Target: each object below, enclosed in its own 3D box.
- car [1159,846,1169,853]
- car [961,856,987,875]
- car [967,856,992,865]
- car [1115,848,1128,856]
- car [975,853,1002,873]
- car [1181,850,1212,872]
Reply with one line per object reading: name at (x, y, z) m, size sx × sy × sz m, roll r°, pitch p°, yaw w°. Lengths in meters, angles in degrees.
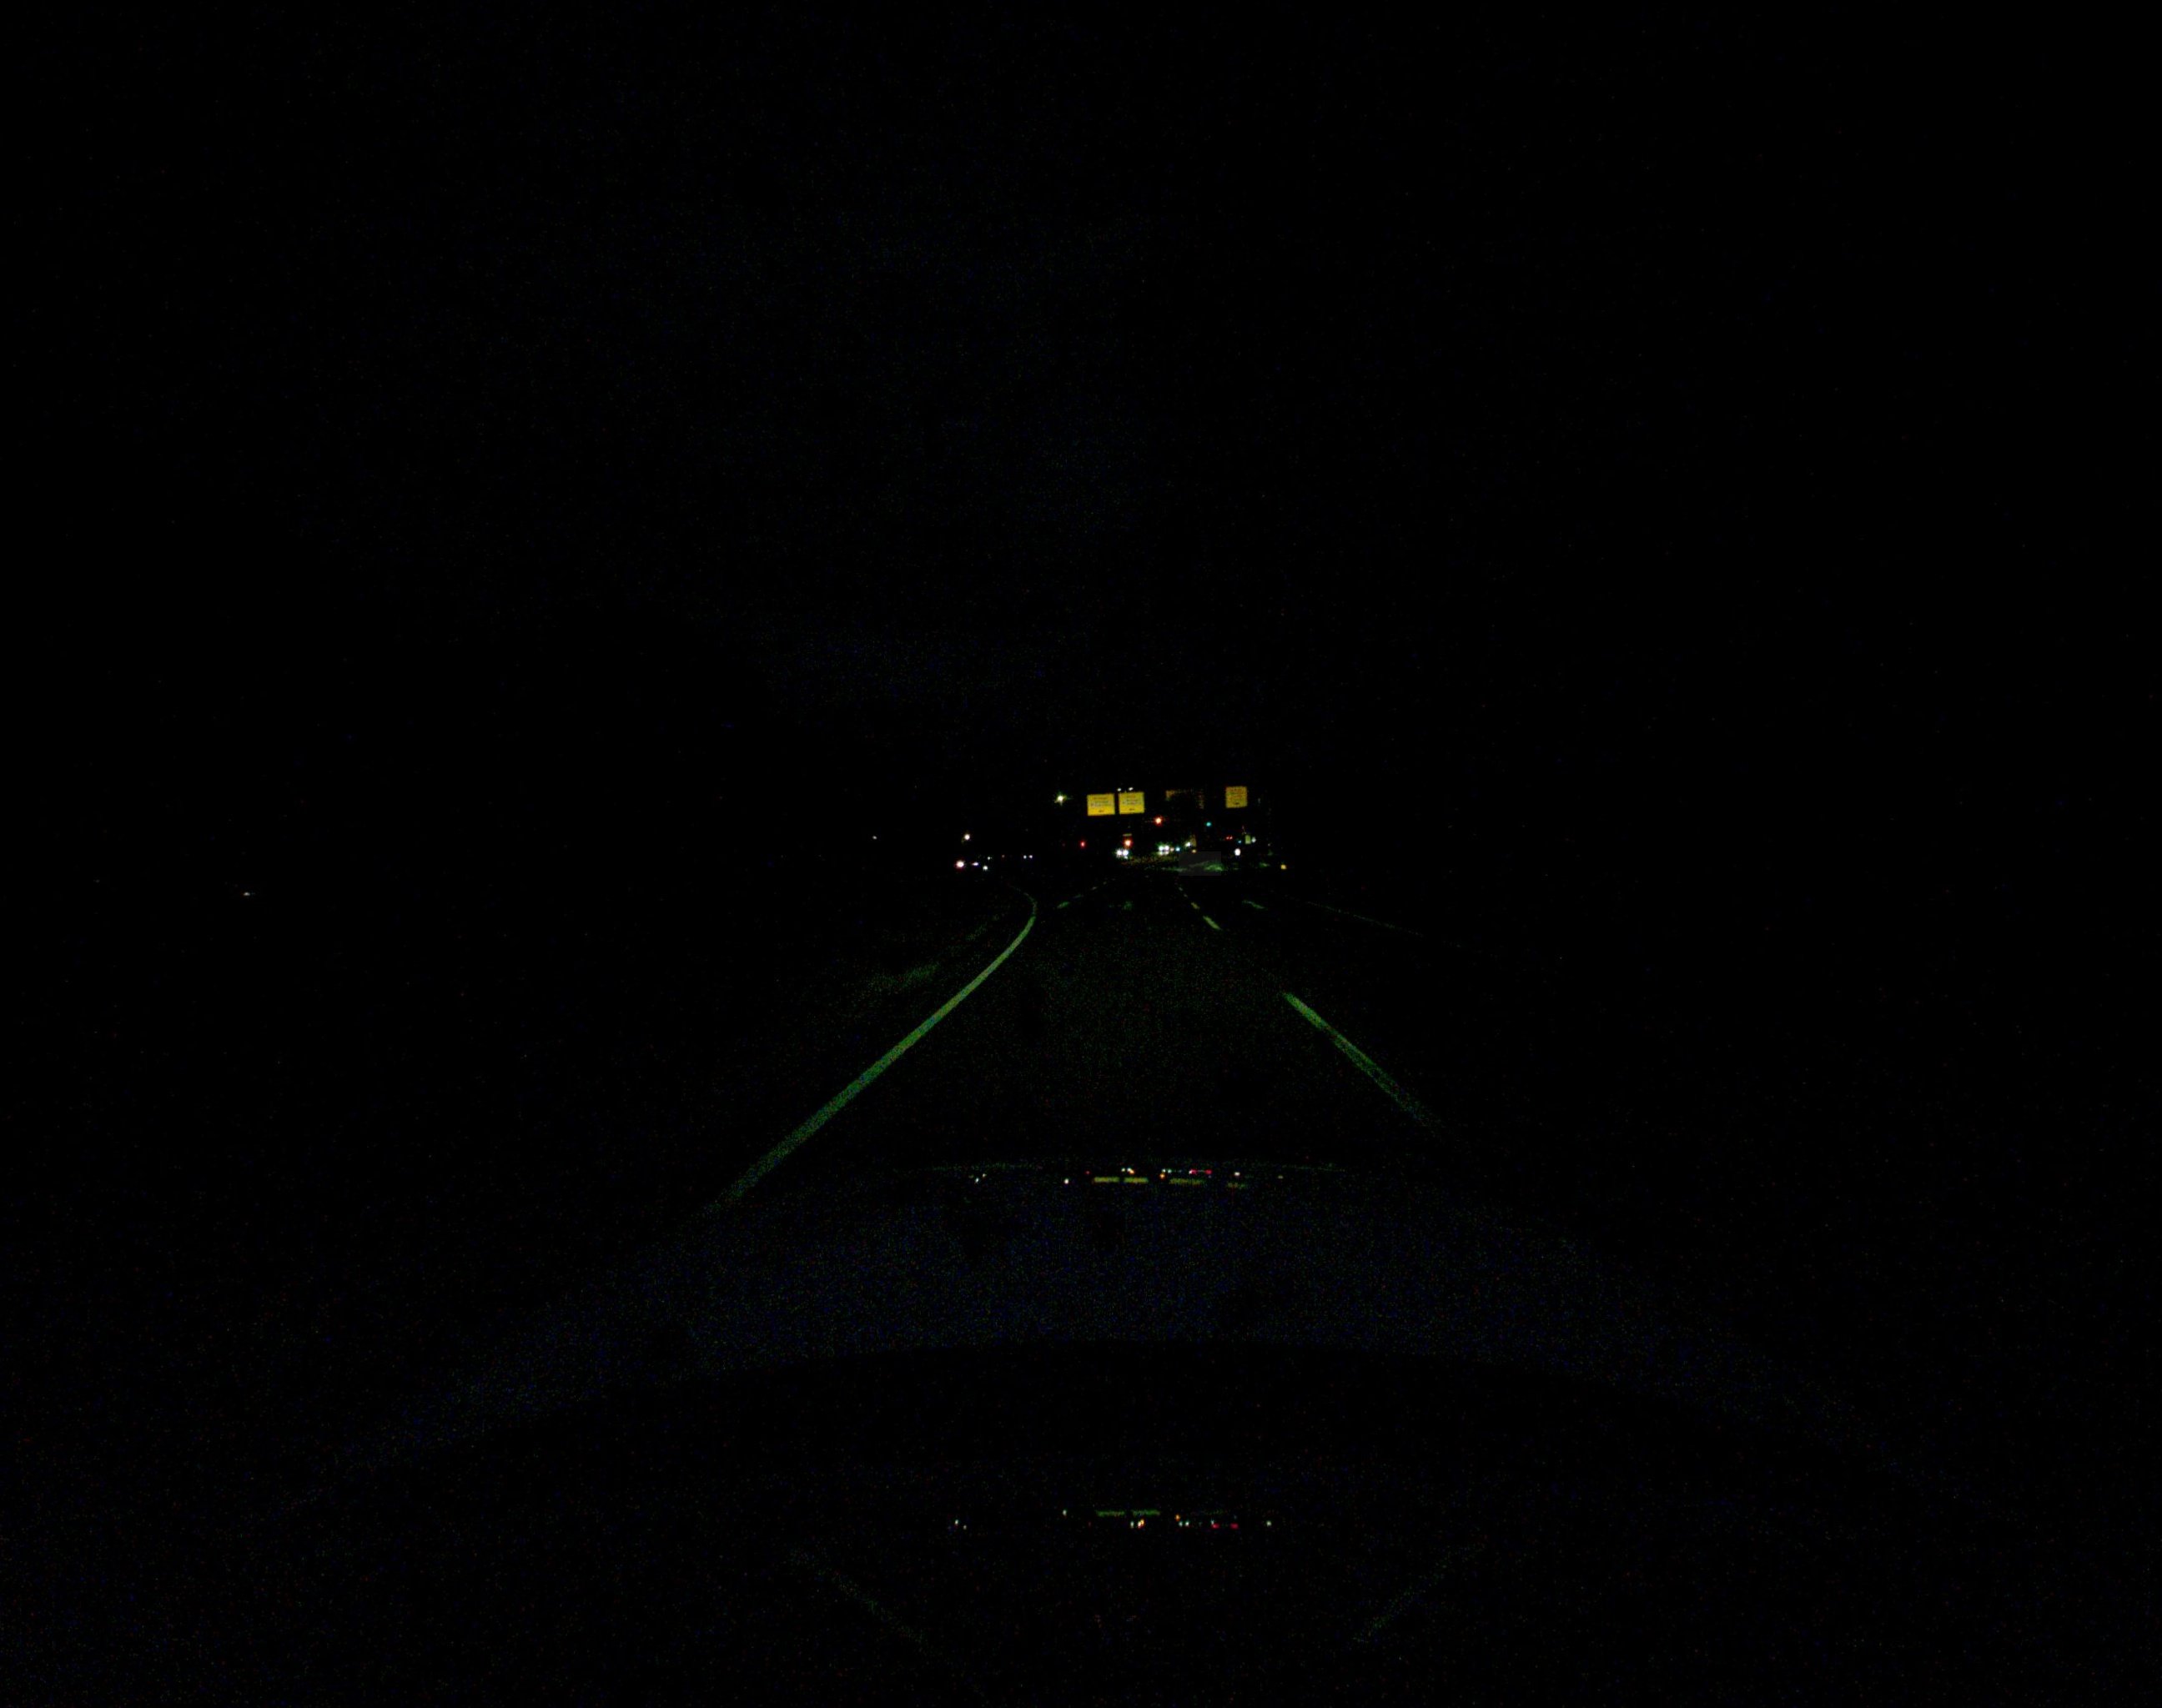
car at (21.191, -1.145, 207.568) m, size 1.980 × 1.481 × 4.697 m, roll -1°, pitch 1°, yaw 12°
car at (-9.748, 1.017, 74.545) m, size 1.694 × 1.623 × 4.308 m, roll -1°, pitch 0°, yaw 2°
car at (-17.909, 1.162, 144.098) m, size 3.966 × 1.473 × 1.733 m, roll -2°, pitch 0°, yaw 6°
car at (8.484, -0.445, 171.123) m, size 1.980 × 1.425 × 4.547 m, roll -1°, pitch 1°, yaw 12°
car at (-7.584, 0.743, 66.990) m, size 1.687 × 1.533 × 4.000 m, roll -1°, pitch 0°, yaw 0°
car at (8.857, 0.508, 62.658) m, size 1.999 × 1.611 × 3.848 m, roll -2°, pitch 0°, yaw 3°
